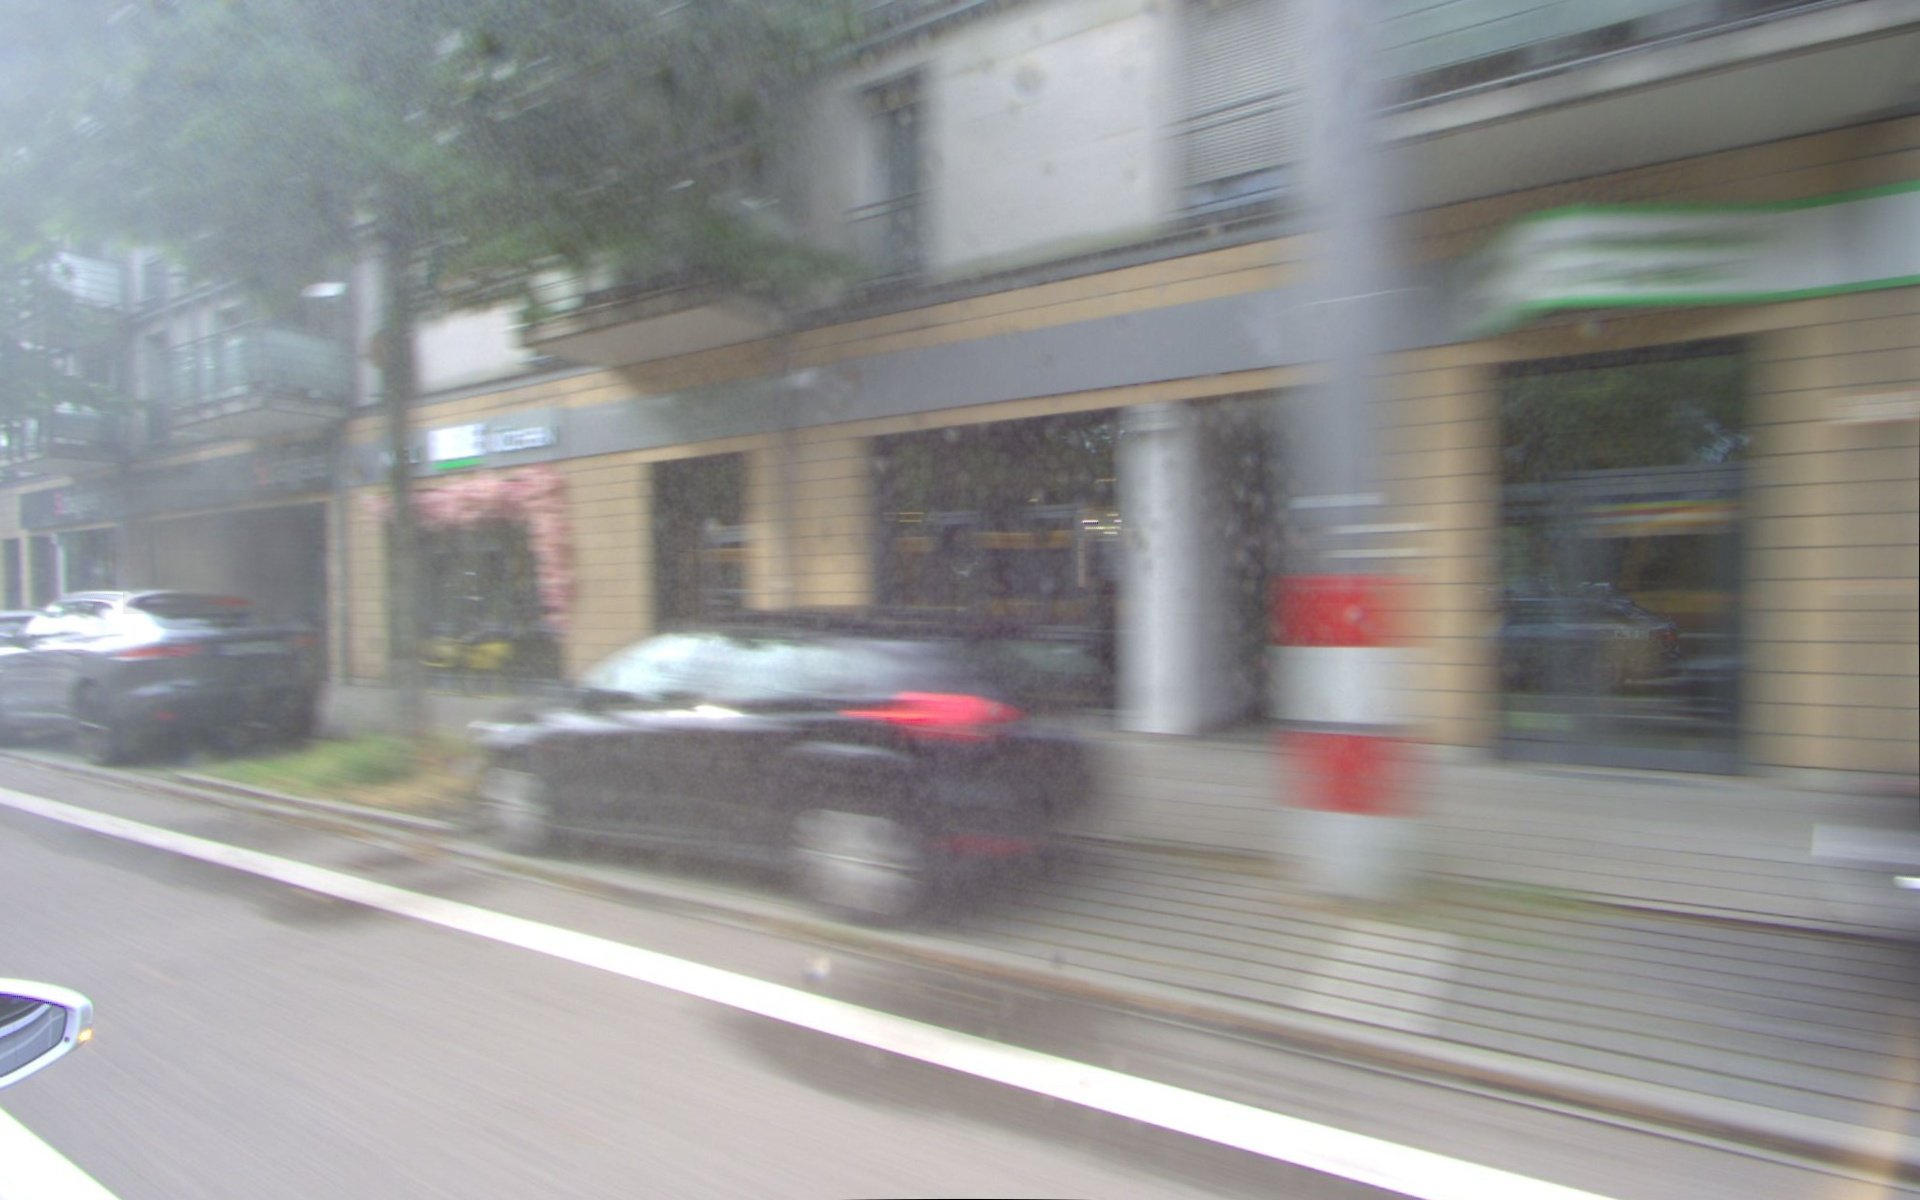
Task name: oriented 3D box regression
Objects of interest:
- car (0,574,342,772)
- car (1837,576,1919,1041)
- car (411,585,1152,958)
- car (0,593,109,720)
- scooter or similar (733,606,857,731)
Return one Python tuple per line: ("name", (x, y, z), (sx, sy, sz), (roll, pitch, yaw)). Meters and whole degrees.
("car", (-8.881, 0.654, 10.845), (4.642, 1.741, 1.708), (0, 3, 31))
("car", (4.996, 0.668, 2.189), (4.323, 1.475, 1.794), (0, 3, 30))
("car", (-1.230, 0.700, 5.935), (4.346, 1.462, 1.671), (0, 3, 33))
("car", (-13.465, 0.711, 13.634), (4.328, 1.519, 1.671), (0, 3, 33))
("scooter or similar", (-1.730, 0.689, 10.481), (1.196, 1.217, 0.515), (0, 3, 32))
